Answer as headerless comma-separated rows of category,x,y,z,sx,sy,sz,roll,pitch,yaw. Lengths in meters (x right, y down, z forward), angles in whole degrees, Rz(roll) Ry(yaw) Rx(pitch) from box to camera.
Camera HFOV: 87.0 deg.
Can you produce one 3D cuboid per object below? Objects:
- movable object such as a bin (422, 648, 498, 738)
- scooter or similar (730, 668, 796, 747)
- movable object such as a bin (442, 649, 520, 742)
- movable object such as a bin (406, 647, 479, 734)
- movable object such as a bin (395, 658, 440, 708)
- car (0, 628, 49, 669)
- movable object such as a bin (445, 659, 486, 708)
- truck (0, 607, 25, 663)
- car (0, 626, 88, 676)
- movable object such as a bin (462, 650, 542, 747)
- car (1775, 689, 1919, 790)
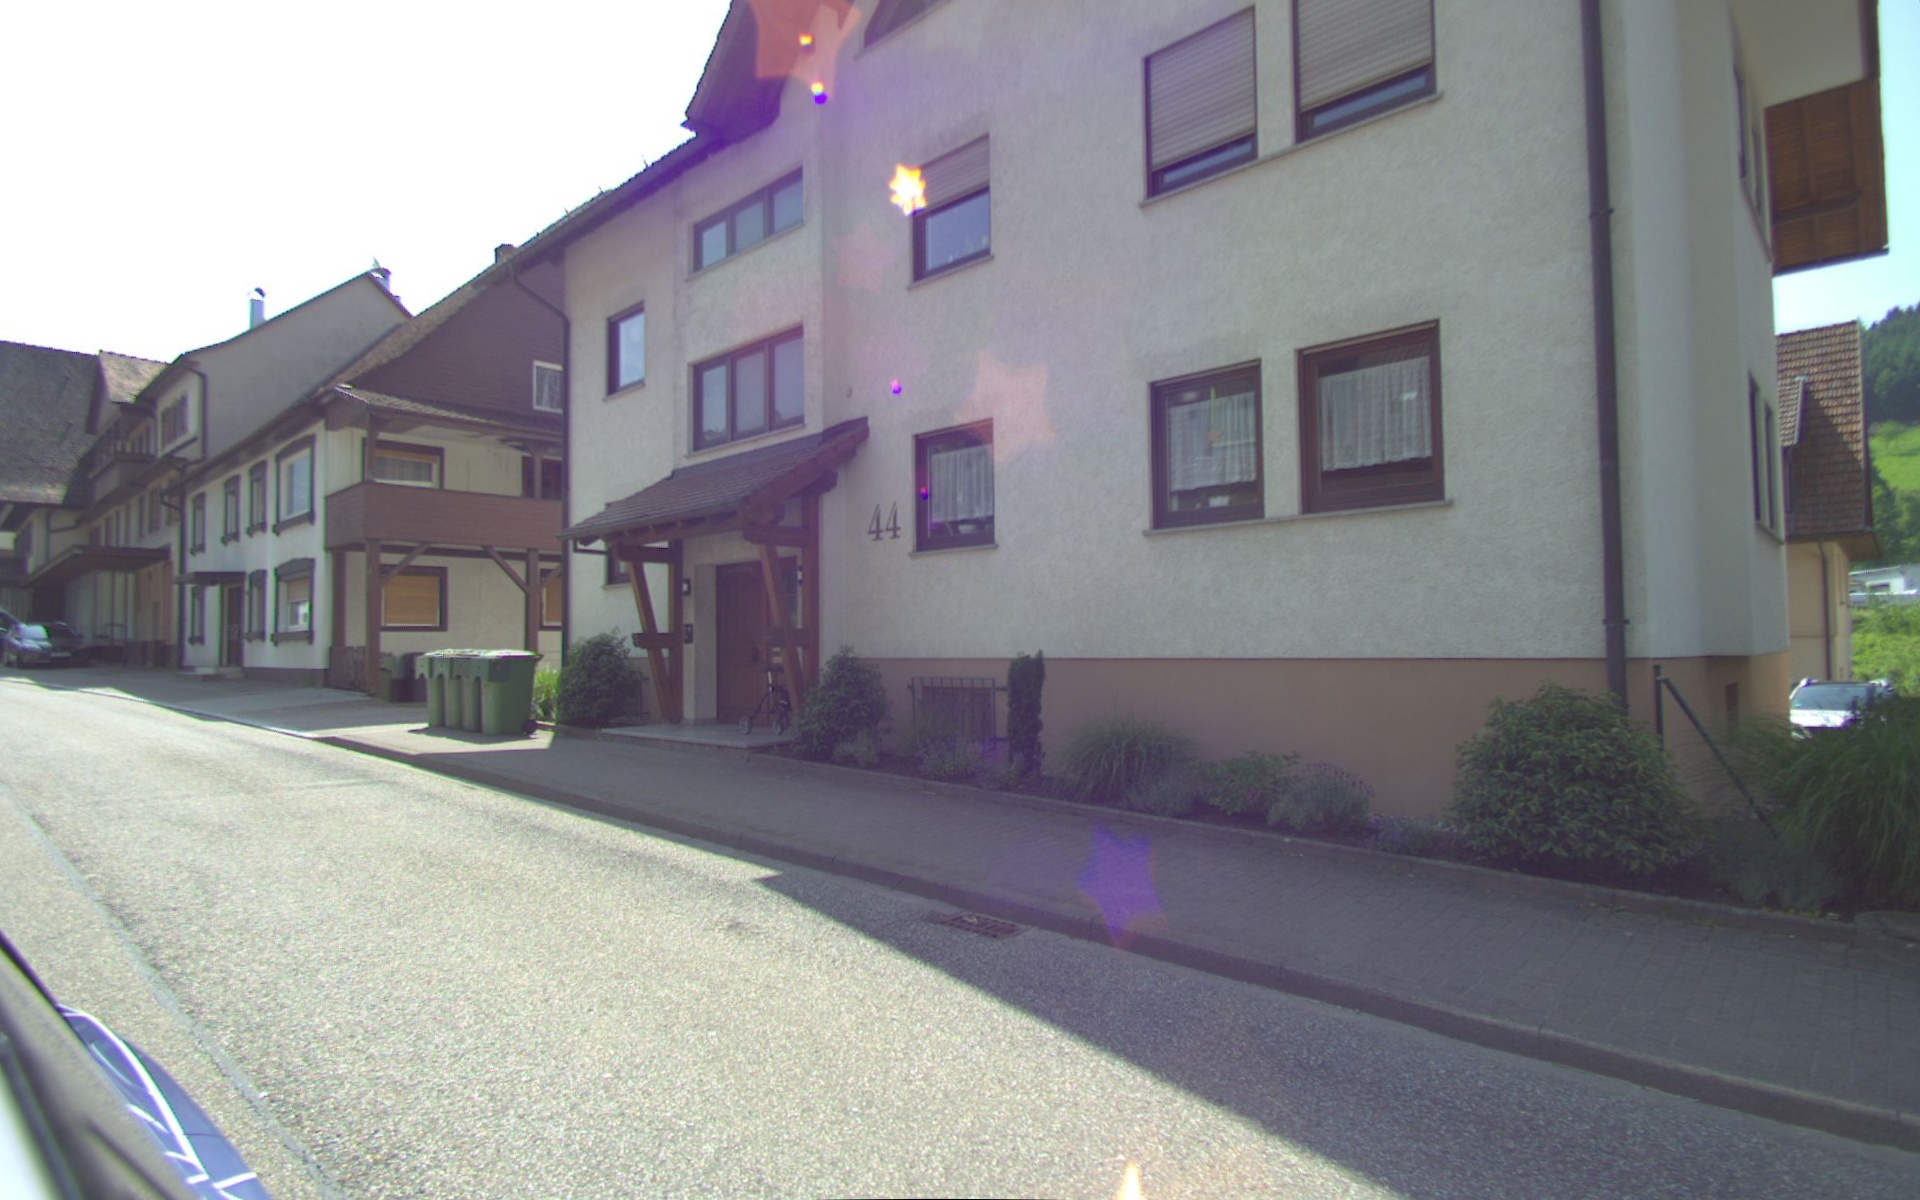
movable object such as a bin,-6.872,1.270,13.915,0.598,1.190,0.710,-2,-5,43
scooter or similar,-2.185,1.177,11.249,0.537,0.832,0.500,-3,-4,41
movable object such as a bin,-6.381,1.262,13.486,0.598,1.190,0.710,-2,-5,43
movable object such as a bin,-7.350,1.278,14.371,0.598,1.190,0.710,-2,-5,43
movable object such as a bin,-11.739,1.788,21.898,0.696,1.059,0.614,-2,-4,42
car,-37.261,1.821,38.177,1.752,1.514,4.054,-2,-3,39
movable object such as a bin,-11.069,1.857,22.656,0.632,1.059,0.600,-2,-4,42
truck,-41.197,1.433,41.308,1.996,2.283,4.128,-1,-2,36
car,-31.105,1.677,34.215,4.281,1.565,1.752,-2,-2,40
movable object such as a bin,-5.897,1.255,13.043,0.598,1.190,0.710,-2,-5,43
car,14.015,2.093,15.726,1.509,1.364,3.255,0,-5,28
